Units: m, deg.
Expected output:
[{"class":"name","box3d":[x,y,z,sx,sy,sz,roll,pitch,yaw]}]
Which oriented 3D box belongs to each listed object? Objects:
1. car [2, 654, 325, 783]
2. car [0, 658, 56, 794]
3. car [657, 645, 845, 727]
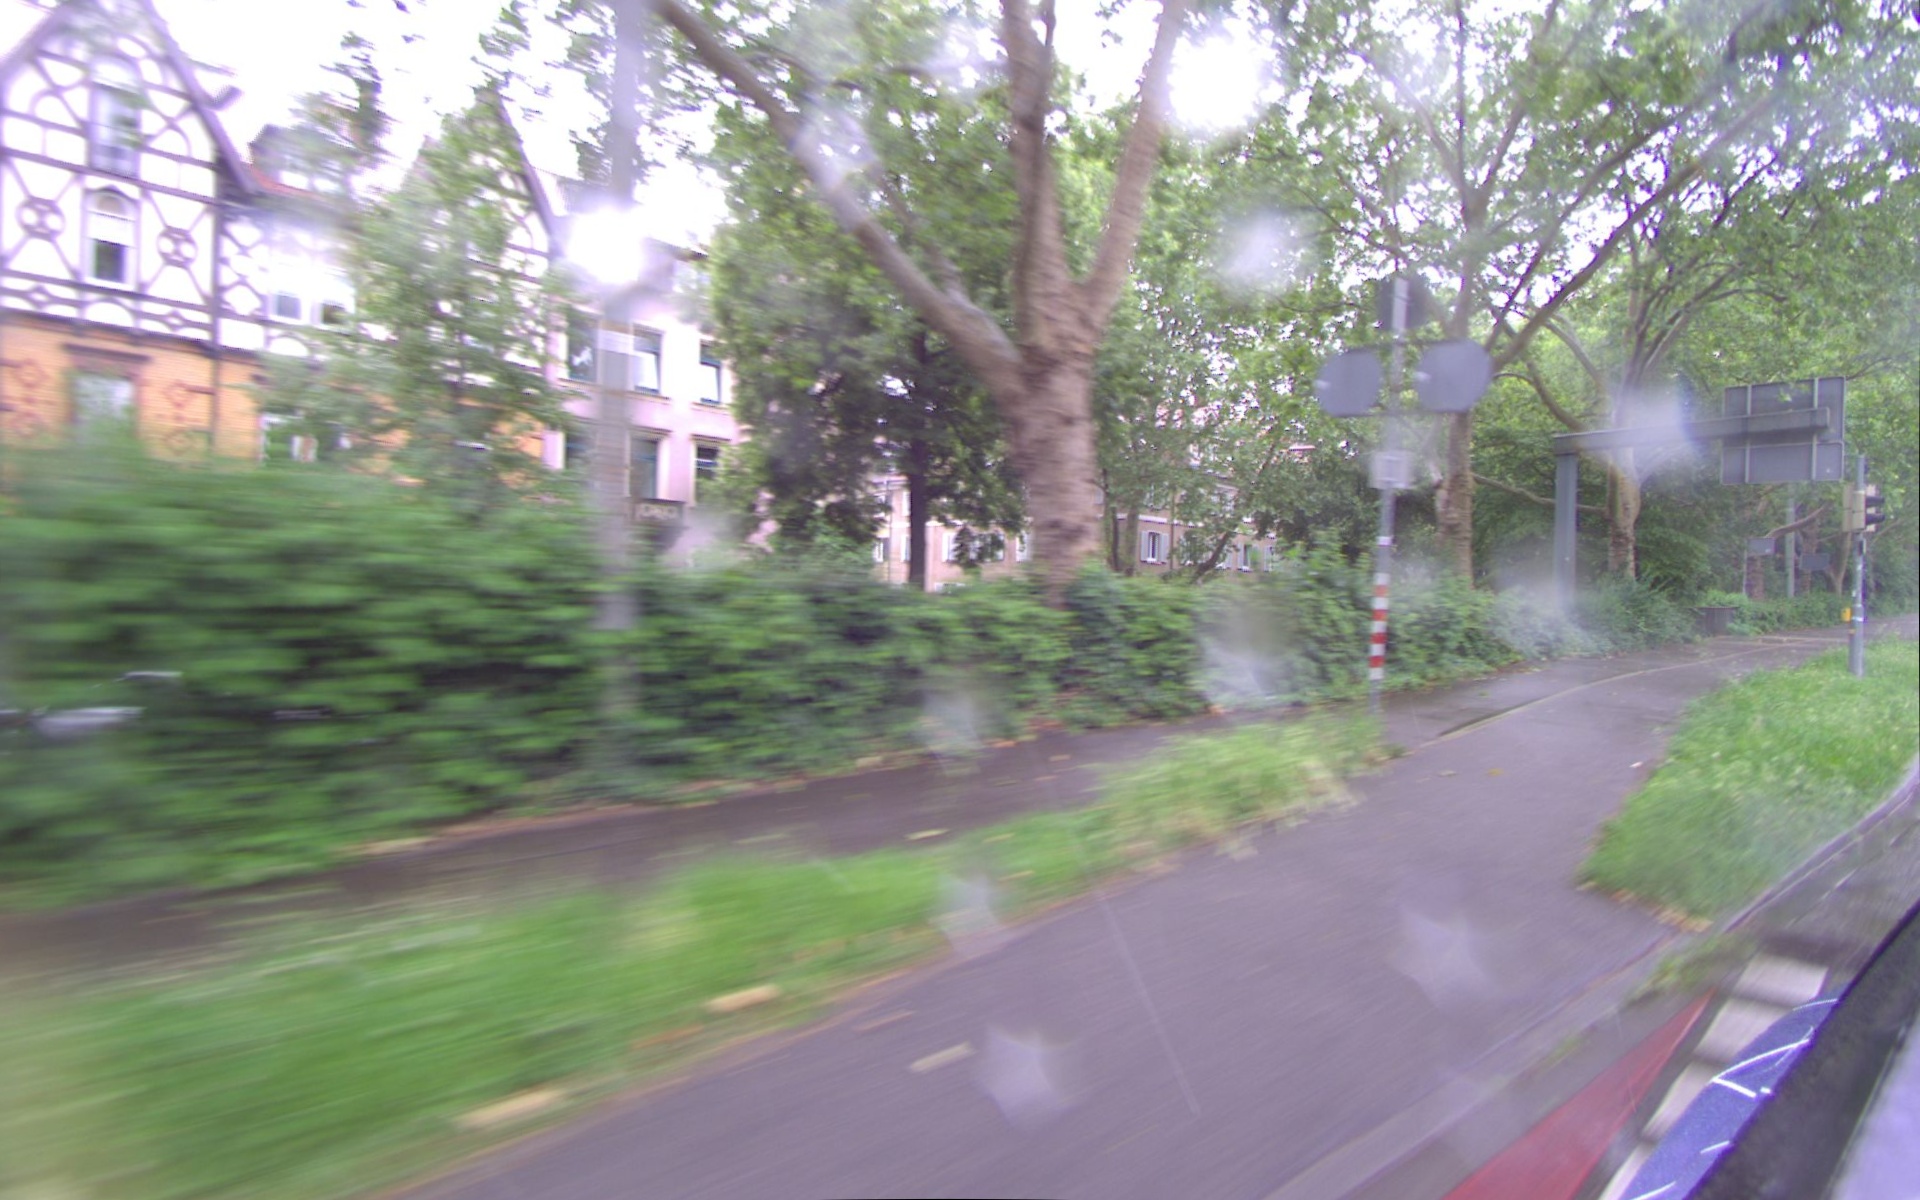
[{"class":"car","box3d":[-11.809,1.678,15.096,3.747,1.433,1.909,2,1,14]},{"class":"car","box3d":[-13.925,1.557,12.829,3.747,1.623,1.909,2,1,14]},{"class":"car","box3d":[-4.609,1.850,22.450,3.702,1.433,1.717,2,1,14]}]
